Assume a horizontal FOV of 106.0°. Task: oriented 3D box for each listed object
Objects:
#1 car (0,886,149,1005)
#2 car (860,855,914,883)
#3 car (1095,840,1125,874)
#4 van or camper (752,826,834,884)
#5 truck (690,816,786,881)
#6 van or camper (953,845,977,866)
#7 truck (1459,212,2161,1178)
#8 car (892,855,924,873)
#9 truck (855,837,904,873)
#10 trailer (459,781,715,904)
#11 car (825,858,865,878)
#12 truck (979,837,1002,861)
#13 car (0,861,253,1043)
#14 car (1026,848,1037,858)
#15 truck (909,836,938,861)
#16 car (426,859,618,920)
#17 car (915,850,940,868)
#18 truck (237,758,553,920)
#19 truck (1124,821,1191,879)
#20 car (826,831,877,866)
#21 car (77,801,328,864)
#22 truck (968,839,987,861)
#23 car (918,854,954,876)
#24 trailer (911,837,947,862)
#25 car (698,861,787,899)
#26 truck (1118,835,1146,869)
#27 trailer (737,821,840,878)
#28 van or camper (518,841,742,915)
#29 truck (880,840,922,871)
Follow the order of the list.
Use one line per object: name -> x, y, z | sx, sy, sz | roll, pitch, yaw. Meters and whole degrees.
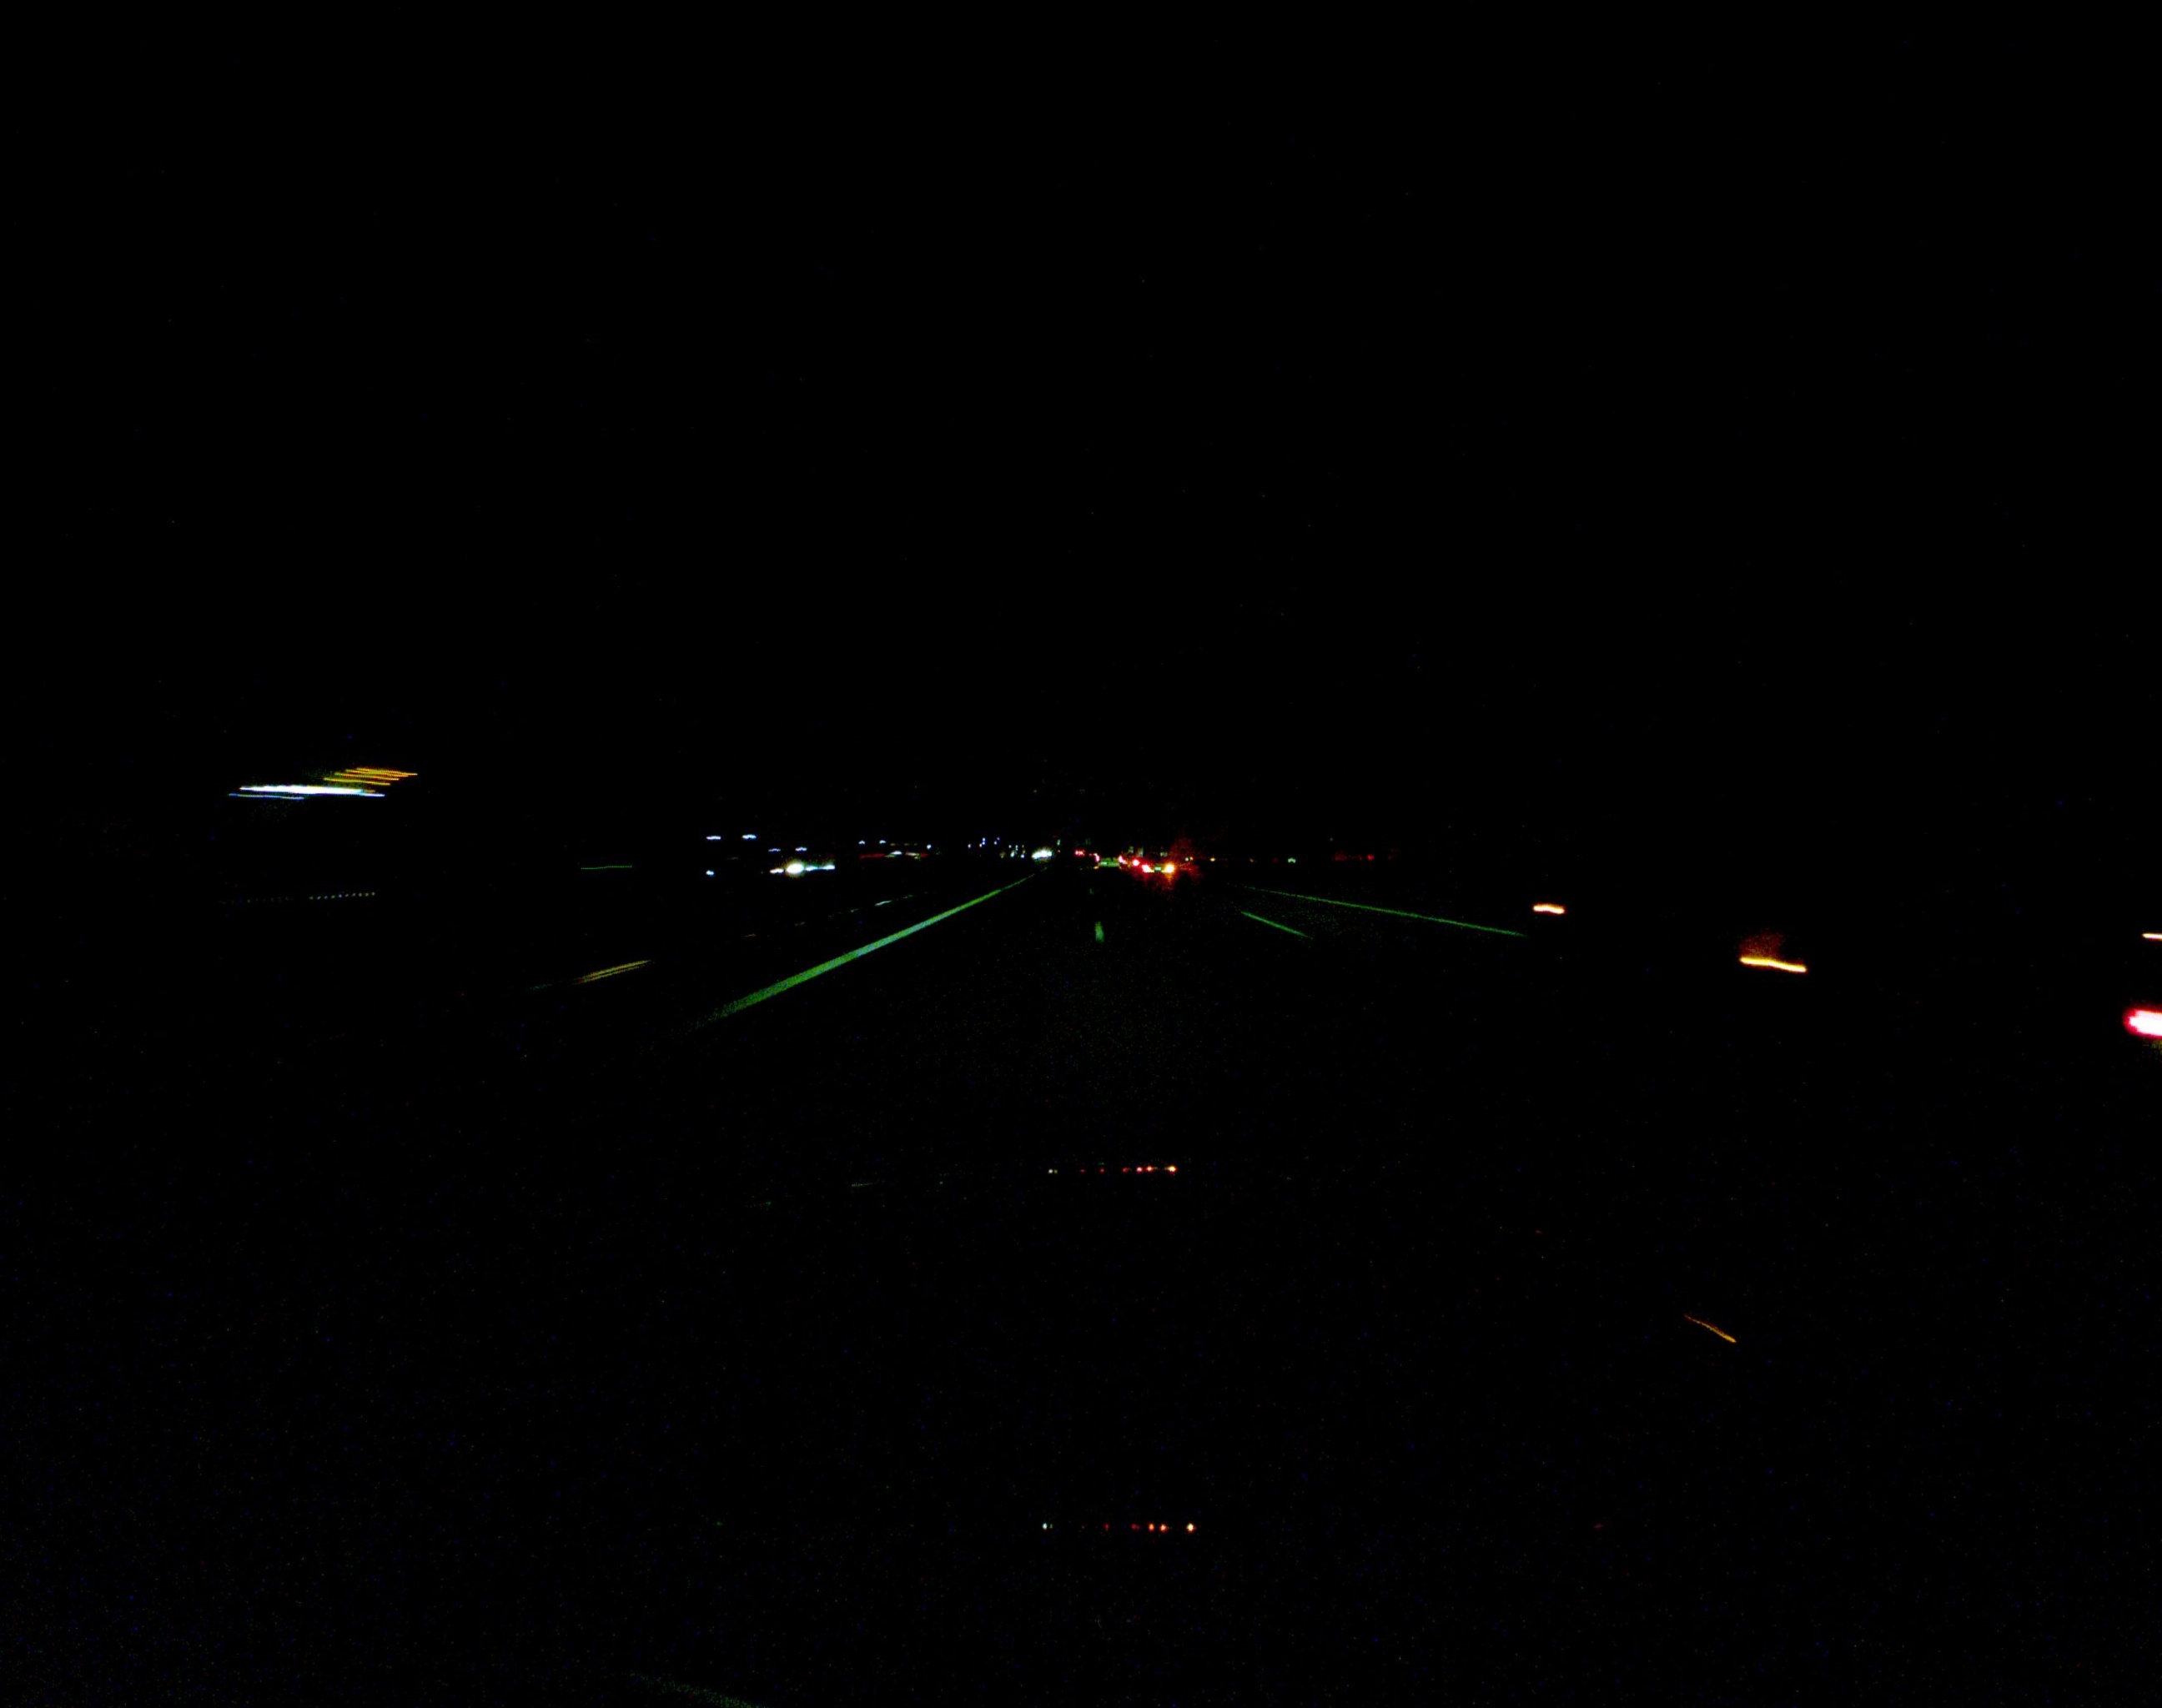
car -> -13.713, 1.119, 9.017 | 1.789, 1.354, 4.242 | -1, 0, 3
car -> -9.989, 0.743, 42.196 | 1.563, 1.354, 4.005 | -1, 0, 4
car -> 2.387, 0.272, 65.967 | 2.328, 2.640, 5.250 | 0, -1, 3
van or camper -> -17.504, 0.038, 50.052 | 2.425, 3.272, 7.392 | -1, 0, 0
truck -> -20.990, -0.319, 50.385 | 2.874, 3.675, 7.261 | -1, 0, -1
van or camper -> -14.803, 0.194, 104.136 | 2.077, 2.632, 7.602 | -1, 0, -1
truck -> 6.087, -0.700, 6.311 | 2.851, 4.077, 7.513 | -2, 0, 1
car -> -13.407, 0.746, 63.196 | 1.565, 1.354, 4.000 | -1, 0, 0
truck -> -18.009, 0.147, 73.194 | 2.548, 2.986, 7.450 | -1, -1, 0
trailer -> -17.126, -0.308, 29.675 | 2.386, 3.627, 11.179 | 0, 0, 0
car -> -17.035, 0.979, 58.933 | 1.709, 1.354, 3.999 | -1, 0, 0
truck -> -14.262, -0.771, 128.918 | 2.866, 3.674, 6.776 | 1, -1, -1
car -> -9.698, 0.823, 6.628 | 1.650, 1.471, 4.005 | -1, 0, 4
car -> -10.602, -0.105, 173.918 | 1.986, 2.014, 5.325 | 1, -1, 1
truck -> -22.440, -0.711, 116.202 | 2.951, 3.442, 6.359 | 1, 0, -1
car -> -13.967, 0.828, 20.700 | 1.789, 1.354, 4.242 | -1, 0, 3
car -> -13.690, 0.465, 72.809 | 1.694, 1.486, 3.973 | 1, -1, -3
truck -> -17.092, -0.340, 21.060 | 2.395, 3.514, 6.724 | 0, 0, 1
truck -> 6.858, -0.193, 77.628 | 3.904, 4.627, 21.007 | -2, -1, -1
car -> -14.089, -0.304, 50.208 | 1.988, 2.014, 3.997 | 1, -1, -2
car -> -20.791, -0.464, 19.546 | 1.564, 1.354, 4.003 | -1, 0, 3
truck -> -18.336, -0.699, 144.856 | 2.868, 3.673, 6.044 | 1, 0, -3
car -> -9.228, 0.665, 52.002 | 1.565, 1.354, 3.999 | -1, 0, 0
trailer -> -22.474, -0.658, 121.405 | 2.951, 3.442, 13.432 | 1, 0, -1
car -> -13.260, 0.986, 32.164 | 1.563, 1.354, 4.005 | -1, 0, 5
truck -> 7.213, -0.276, 116.464 | 3.332, 4.476, 13.912 | 1, 0, 1
trailer -> -21.092, -0.295, 59.840 | 2.874, 3.675, 13.127 | -1, 0, -1
van or camper -> -9.426, 0.445, 17.690 | 1.814, 1.354, 5.352 | -1, 0, 1
truck -> -18.027, 0.194, 81.886 | 2.548, 2.986, 7.450 | -1, -1, 0
